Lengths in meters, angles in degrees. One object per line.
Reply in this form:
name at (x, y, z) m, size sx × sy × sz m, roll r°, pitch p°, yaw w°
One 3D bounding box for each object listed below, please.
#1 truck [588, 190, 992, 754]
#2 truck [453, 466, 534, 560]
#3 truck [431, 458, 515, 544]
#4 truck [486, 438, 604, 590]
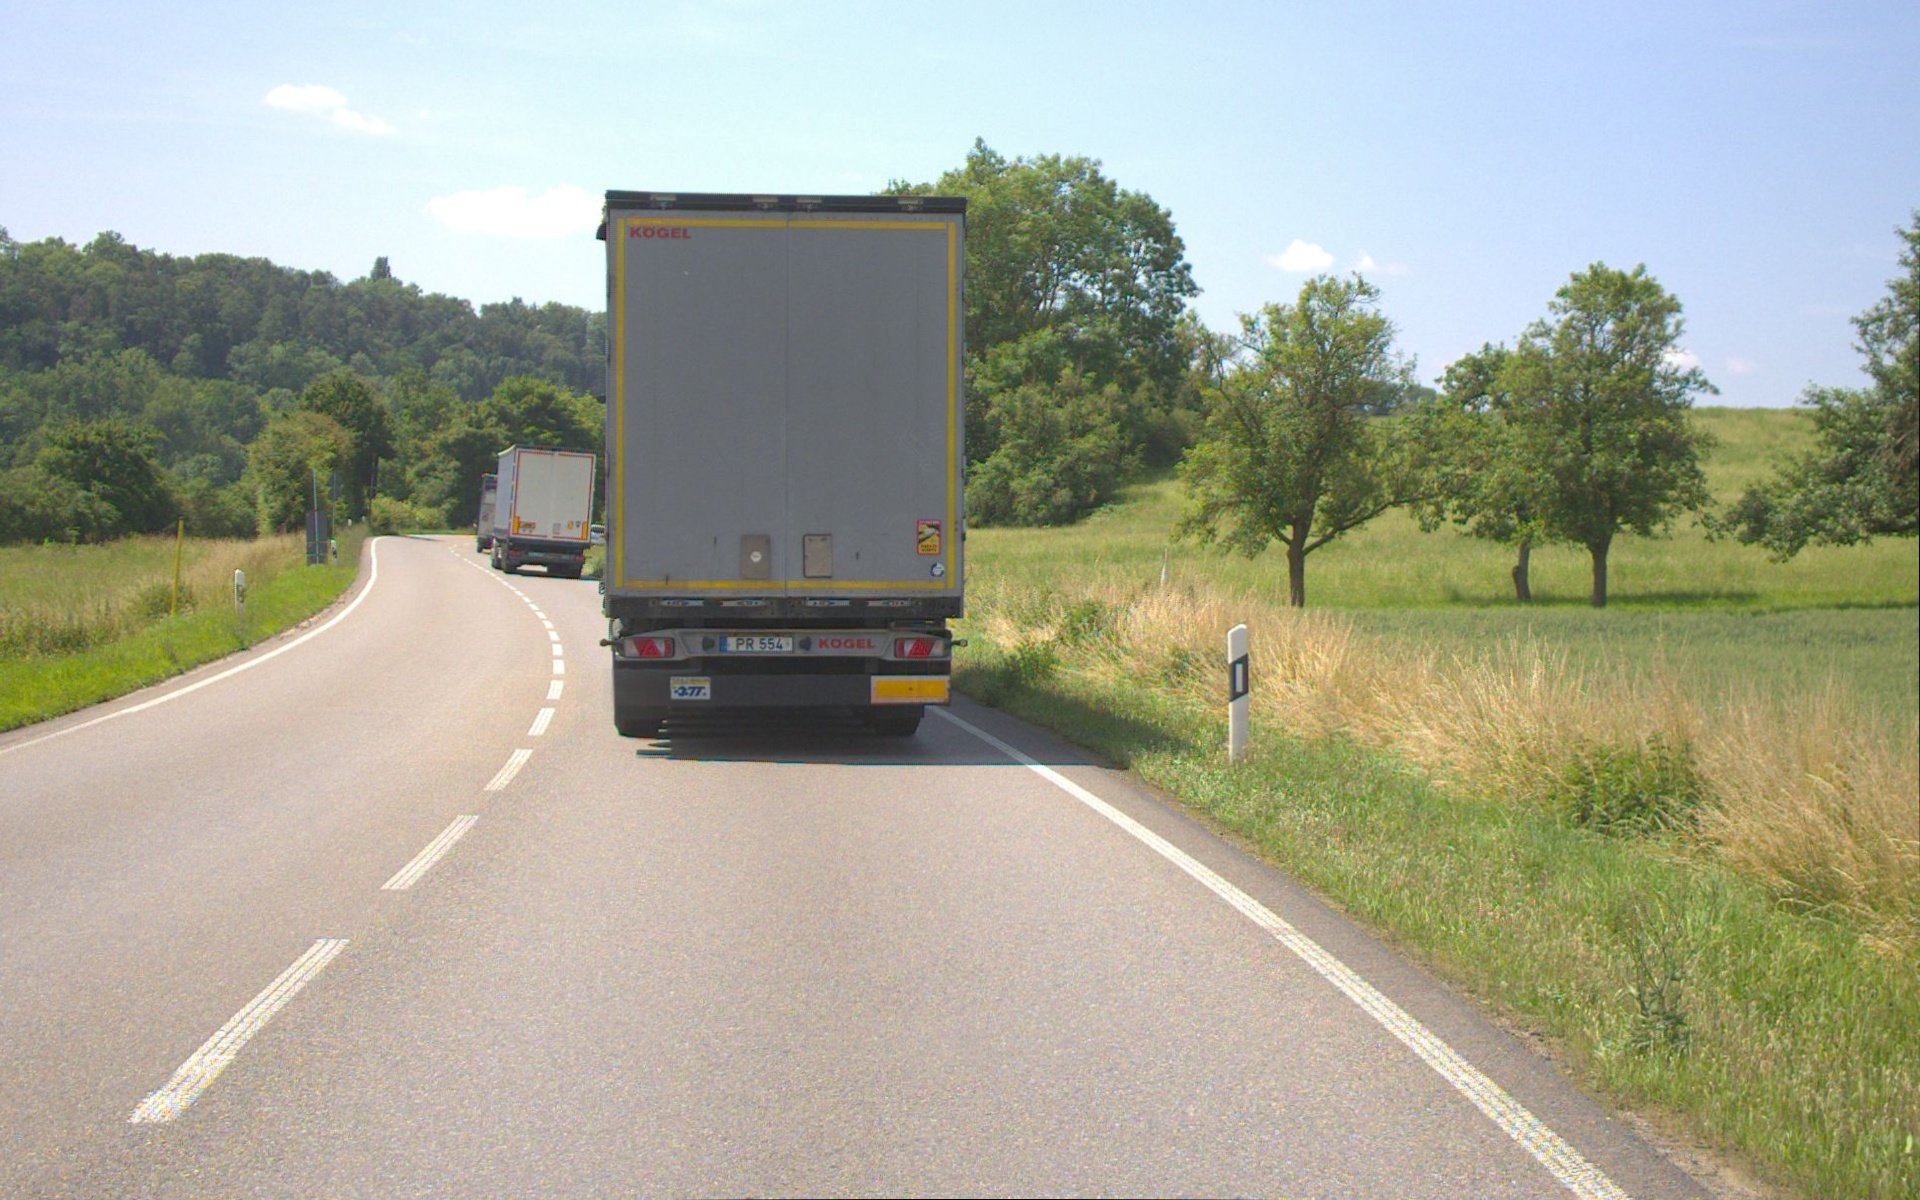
truck at (-1.669, -0.991, 28.902) m, size 2.807 × 3.932 × 9.593 m, roll 0°, pitch 1°, yaw -6°
truck at (-23.549, -4.285, 173.318) m, size 3.636 × 4.115 × 13.100 m, roll 3°, pitch -1°, yaw -8°
truck at (-27.316, -5.448, 192.358) m, size 3.528 × 4.226 × 13.409 m, roll 3°, pitch -1°, yaw -12°
truck at (-13.906, -2.784, 114.168) m, size 2.960 × 4.568 × 16.320 m, roll 2°, pitch 0°, yaw -9°
